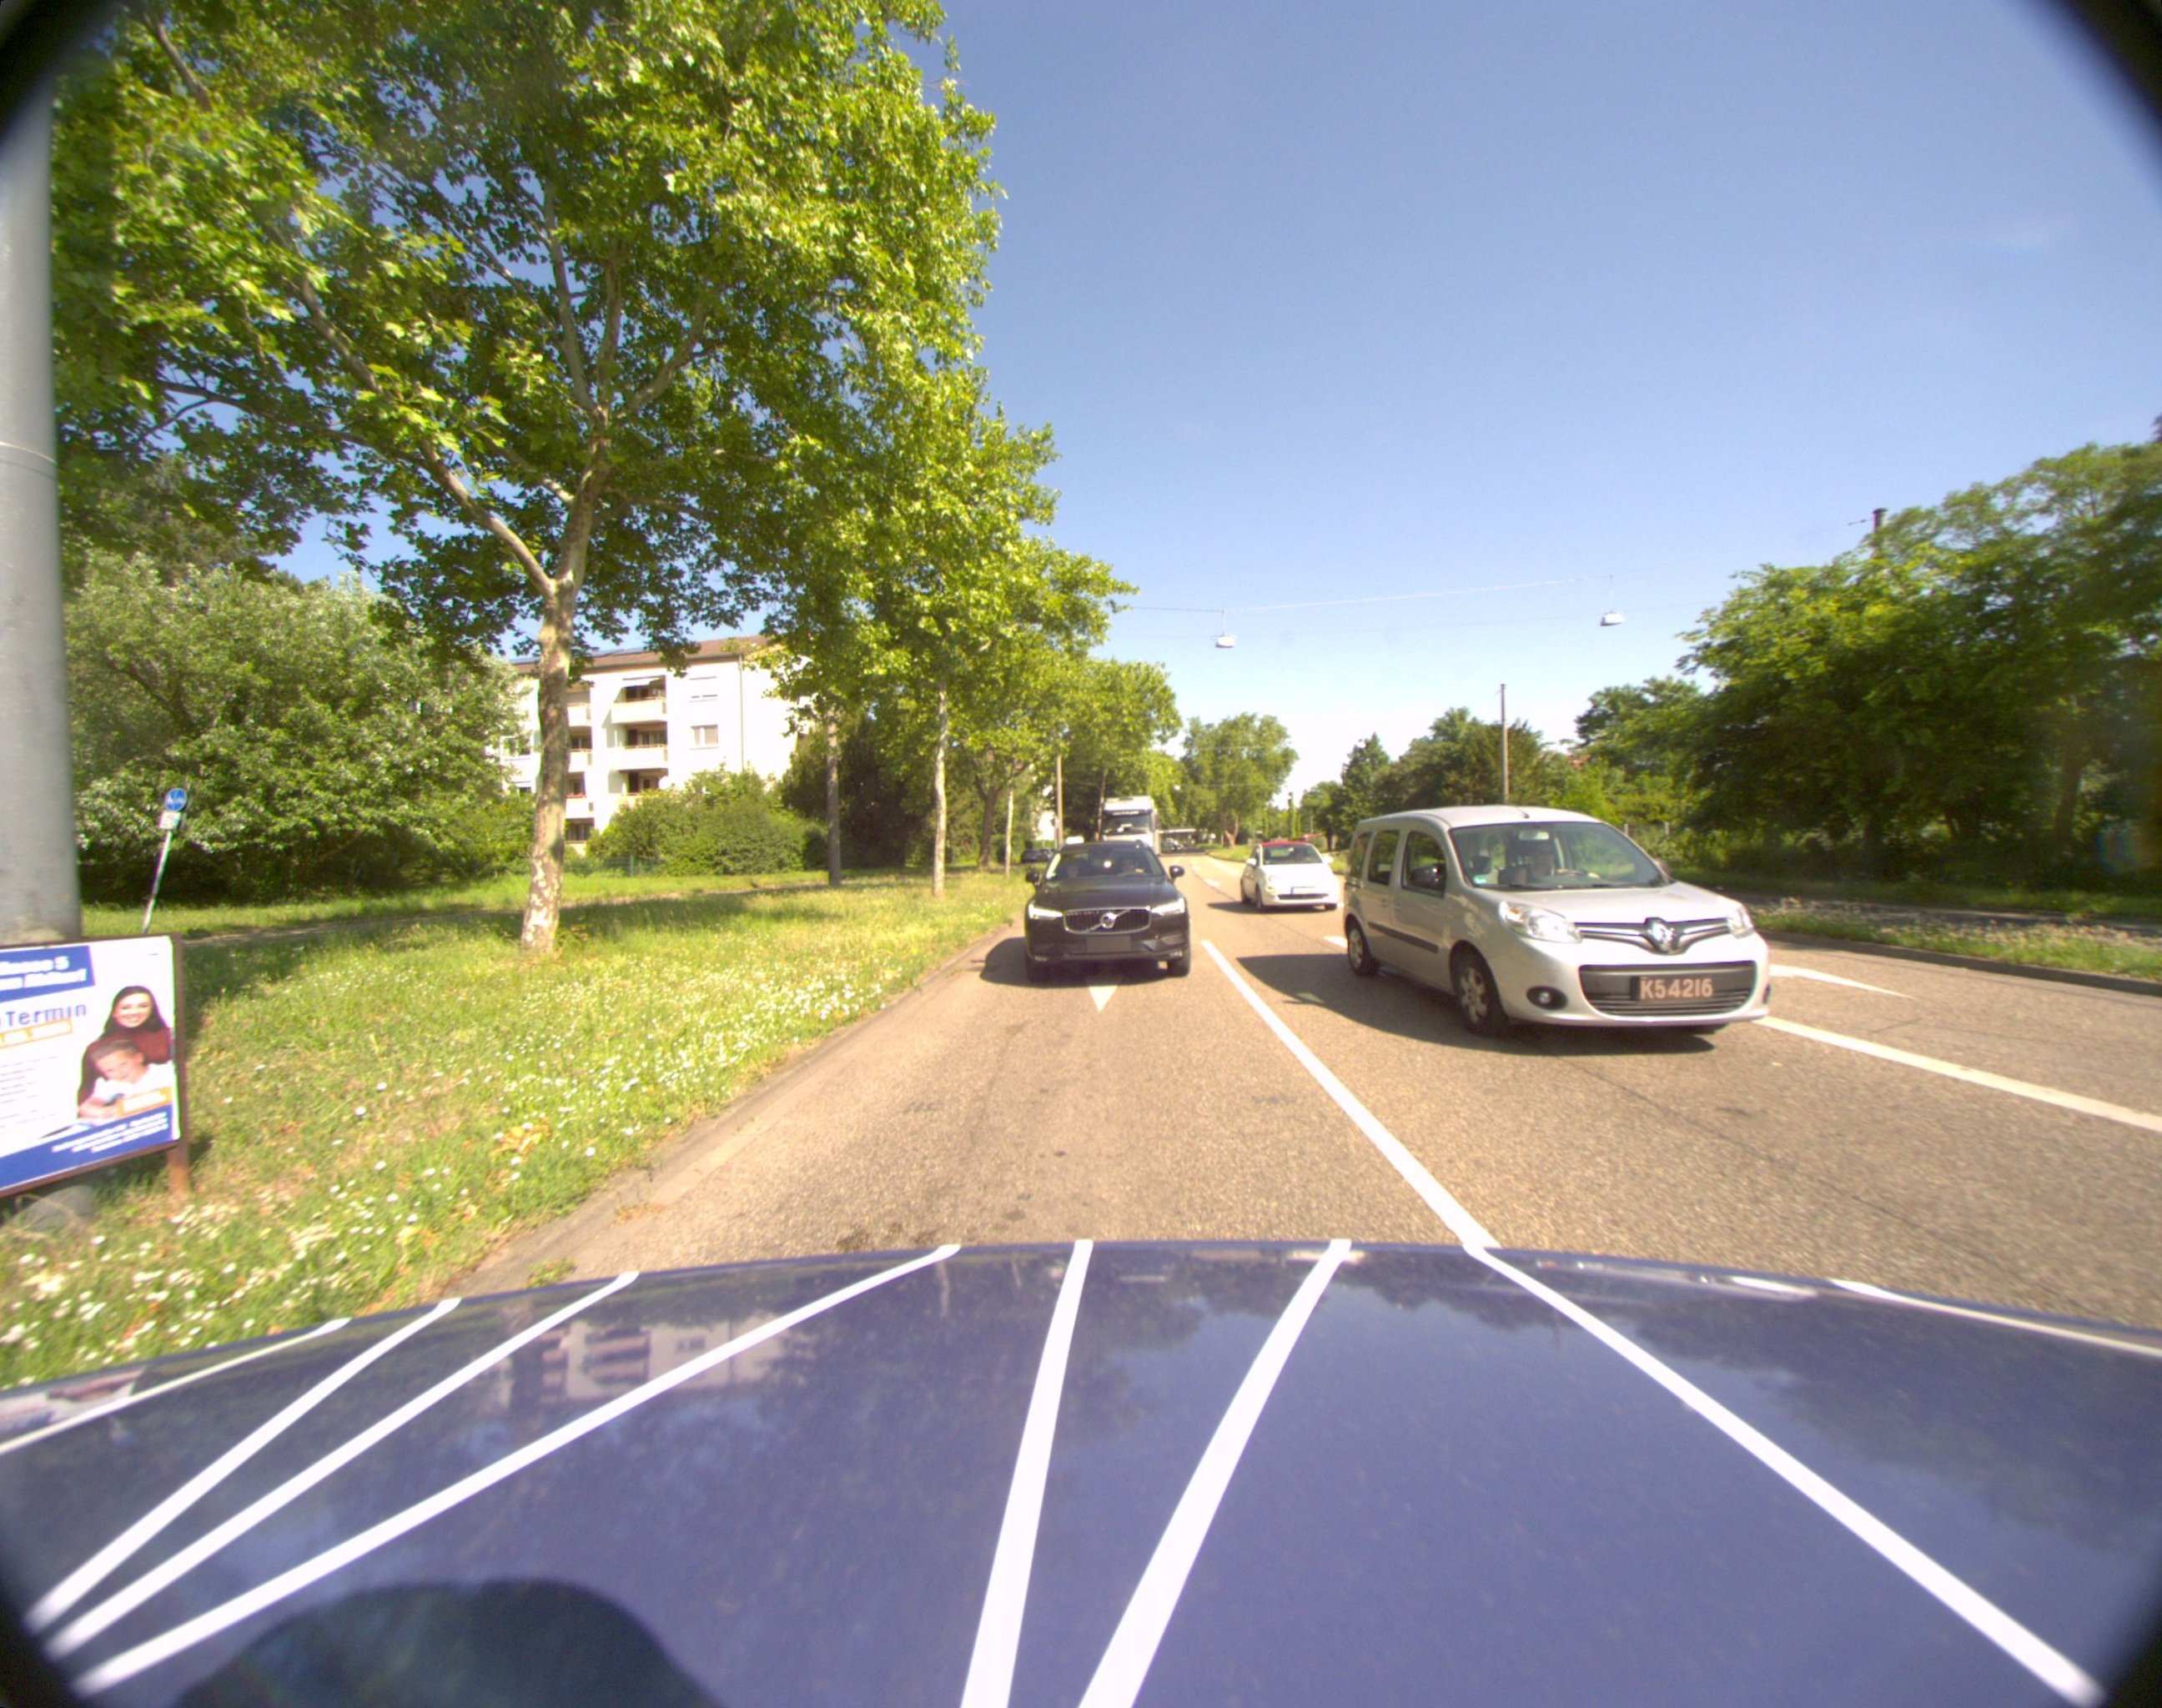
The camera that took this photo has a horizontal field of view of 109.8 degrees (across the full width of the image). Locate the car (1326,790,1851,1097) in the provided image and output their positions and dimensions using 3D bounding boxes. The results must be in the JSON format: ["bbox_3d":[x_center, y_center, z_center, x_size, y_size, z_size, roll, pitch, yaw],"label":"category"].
[{"bbox_3d":[3.790,0.519,6.805,1.876,1.829,4.375,-2,1,2],"label":"car"}]

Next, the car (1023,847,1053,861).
[{"bbox_3d":[-4.253,-0.006,75.459,1.504,1.364,4.094,-1,1,18],"label":"car"}]

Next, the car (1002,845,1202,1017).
[{"bbox_3d":[0.307,0.729,9.876,1.904,1.606,4.872,-2,1,2],"label":"car"}]

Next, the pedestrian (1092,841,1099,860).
[{"bbox_3d":[1.577,-0.414,81.536,0.639,2.002,0.480,-1,2,11],"label":"pedestrian"}]

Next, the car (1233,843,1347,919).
[{"bbox_3d":[4.624,0.510,17.423,1.689,1.482,4.376,-1,1,4],"label":"car"}]

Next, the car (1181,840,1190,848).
[{"bbox_3d":[28.236,-2.732,205.381,1.996,2.002,4.004,-1,1,15],"label":"car"}]

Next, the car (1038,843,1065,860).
[{"bbox_3d":[-3.070,-0.291,80.728,1.504,1.633,4.094,-1,1,18],"label":"car"}]

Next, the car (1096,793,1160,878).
[{"bbox_3d":[2.370,-0.911,38.468,2.902,3.898,7.142,-1,1,3],"label":"car"}]
